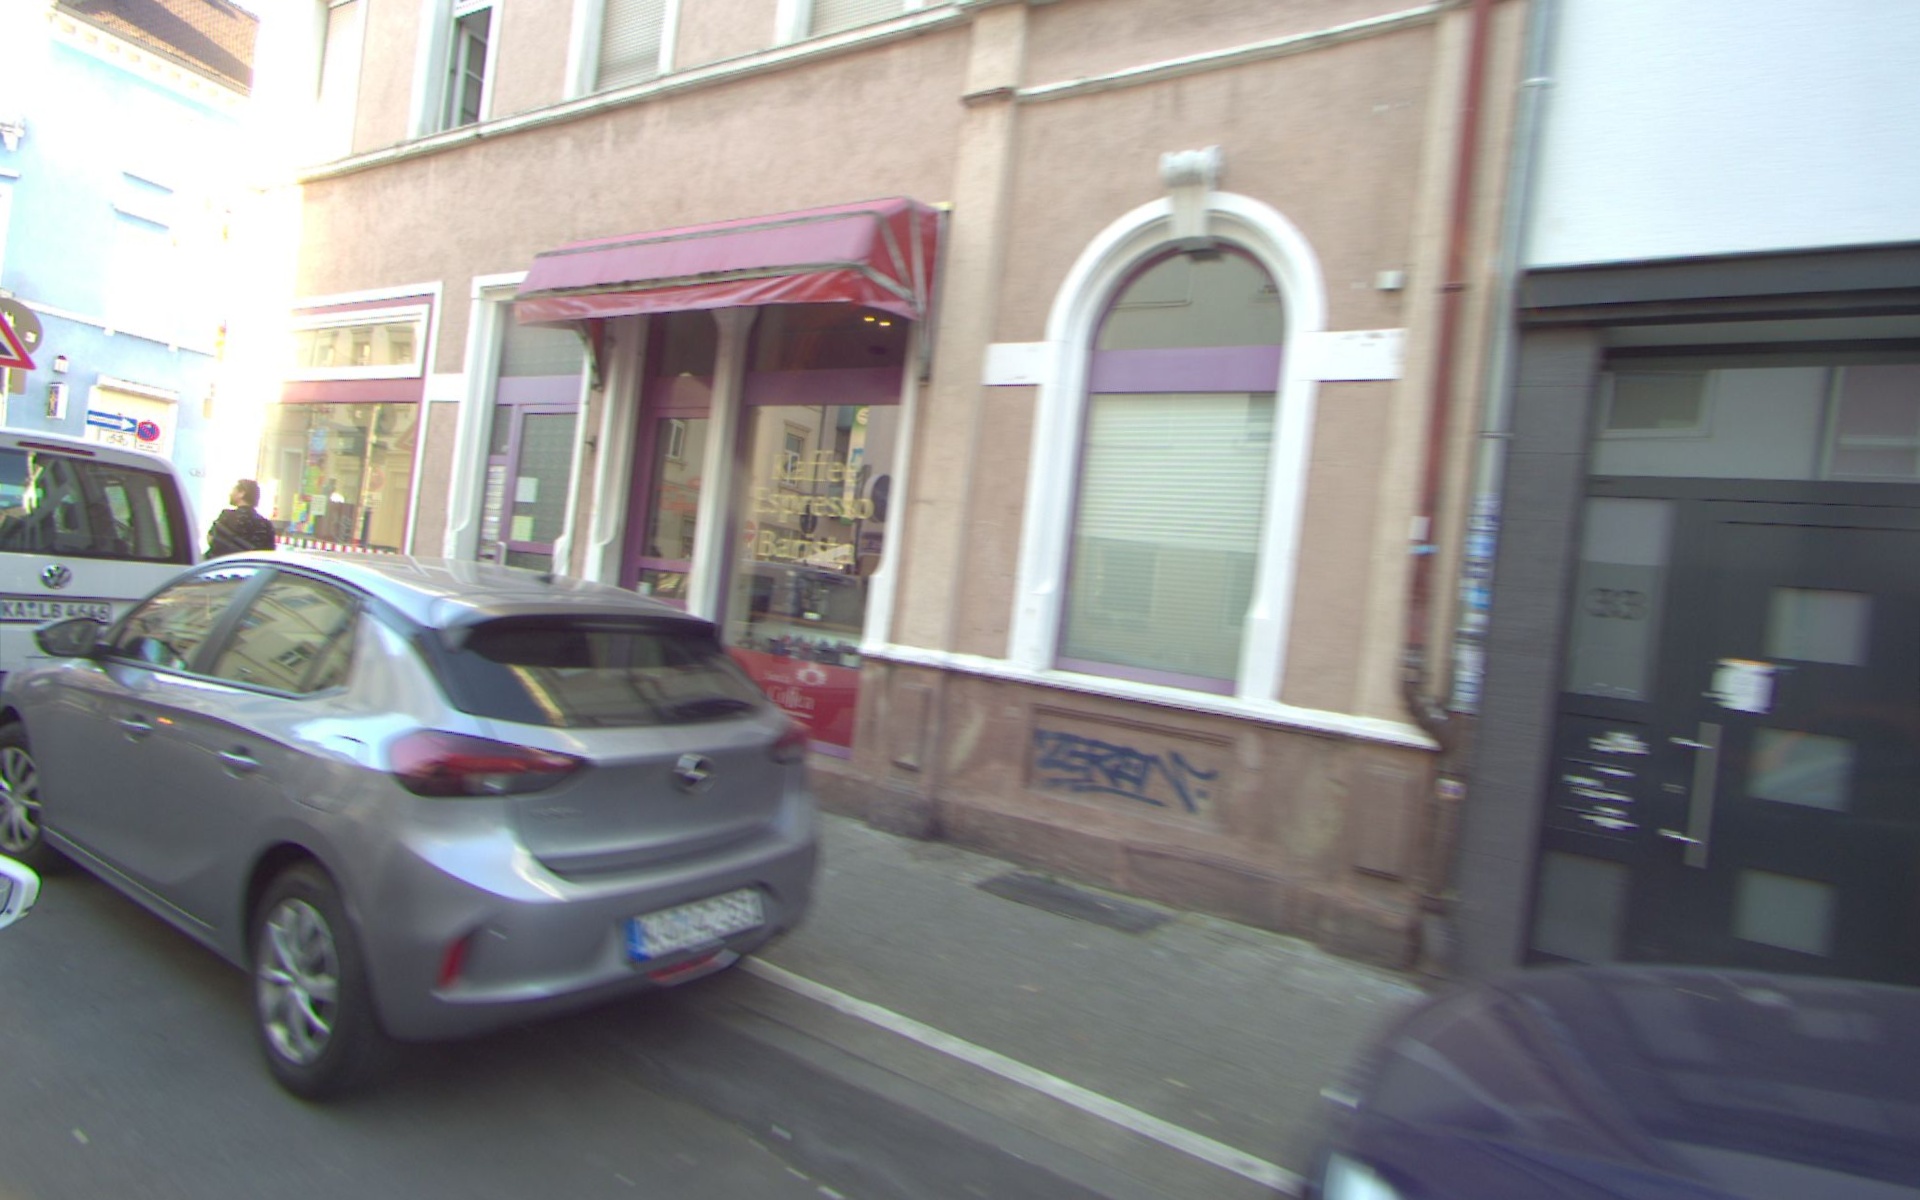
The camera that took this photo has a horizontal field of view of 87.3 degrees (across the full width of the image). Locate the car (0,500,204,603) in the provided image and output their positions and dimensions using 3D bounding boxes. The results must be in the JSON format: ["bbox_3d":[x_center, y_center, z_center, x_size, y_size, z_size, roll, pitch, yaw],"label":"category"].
[{"bbox_3d":[-16.420,-0.936,18.257,1.649,1.470,3.874,7,-2,32],"label":"car"}]

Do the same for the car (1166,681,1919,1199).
[{"bbox_3d":[2.330,1.054,1.083,3.817,1.413,1.733,6,0,32],"label":"car"}]

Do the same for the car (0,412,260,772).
[{"bbox_3d":[-6.618,-0.205,6.473,4.298,1.837,1.752,6,-2,32],"label":"car"}]

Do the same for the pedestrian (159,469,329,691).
[{"bbox_3d":[-6.335,-0.175,8.911,0.974,1.816,0.826,7,2,32],"label":"pedestrian"}]

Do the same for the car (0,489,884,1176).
[{"bbox_3d":[-2.380,0.471,3.961,3.817,1.425,1.611,7,-1,32],"label":"car"}]
